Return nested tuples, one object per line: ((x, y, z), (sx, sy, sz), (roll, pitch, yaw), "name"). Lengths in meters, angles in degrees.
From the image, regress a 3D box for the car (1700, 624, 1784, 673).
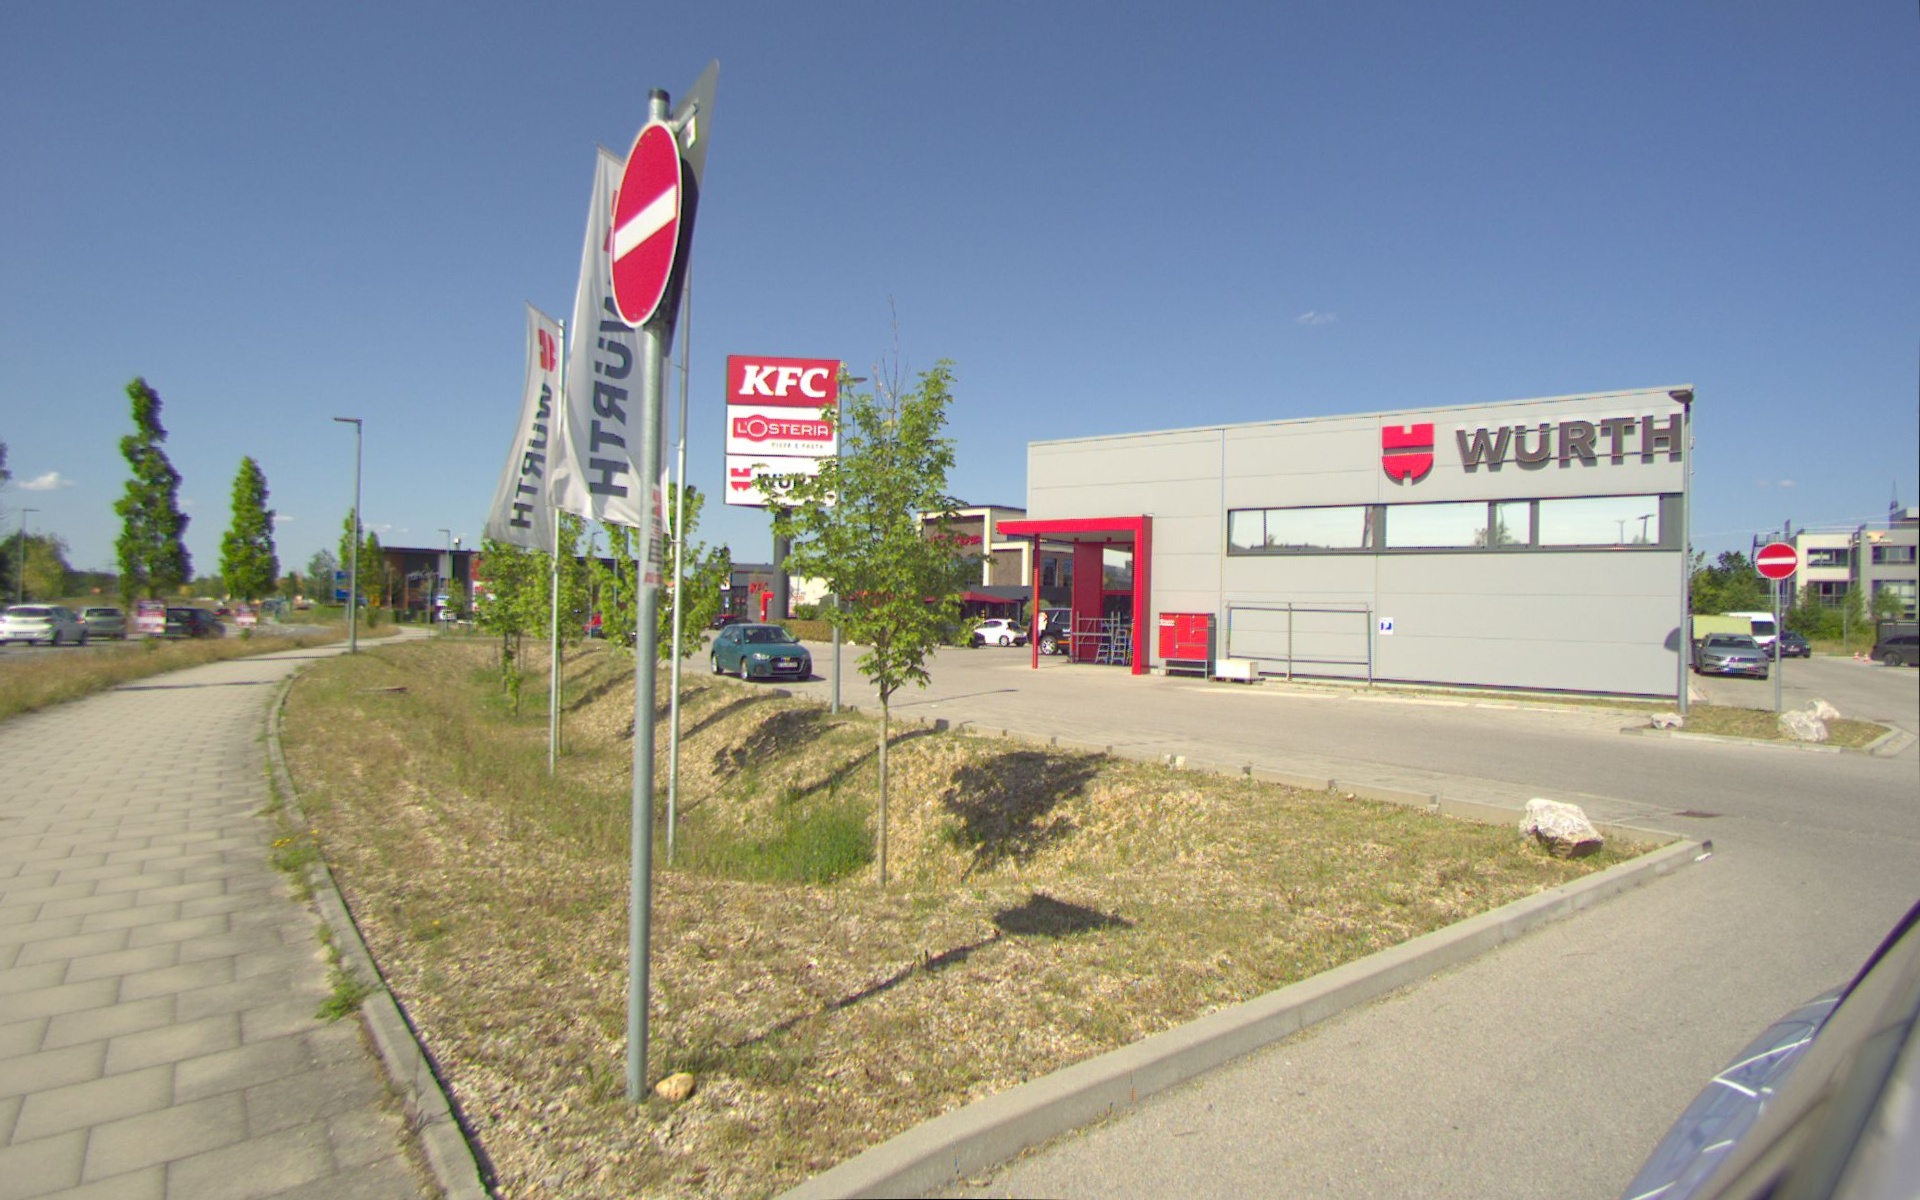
((26.568, 1.602, 34.504), (1.865, 1.527, 3.953), (0, -1, 32), "car")

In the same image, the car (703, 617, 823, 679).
((-5.317, 1.224, 26.892), (1.809, 1.468, 4.230), (1, -1, -31), "car")

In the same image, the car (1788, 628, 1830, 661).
((46.838, 2.438, 55.872), (1.710, 1.638, 3.943), (0, -1, 39), "car")

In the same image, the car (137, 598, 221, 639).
((-31.546, 0.731, 41.007), (1.875, 1.571, 4.394), (0, 0, -27), "car")

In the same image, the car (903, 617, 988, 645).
((-0.772, 1.586, 52.305), (4.125, 1.355, 1.808), (0, -1, 34), "car")

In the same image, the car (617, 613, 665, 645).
((-15.476, 1.382, 48.982), (1.839, 1.484, 4.372), (1, -1, -22), "car")

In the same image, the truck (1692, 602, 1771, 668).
((30.332, 1.332, 39.923), (2.109, 2.407, 5.817), (0, -1, 34), "truck")

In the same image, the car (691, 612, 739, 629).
((-23.588, 1.948, 97.510), (4.029, 1.586, 1.873), (2, -1, -45), "car")

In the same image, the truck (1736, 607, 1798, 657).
((40.952, 1.599, 51.454), (1.986, 2.407, 5.817), (0, -1, 34), "truck")

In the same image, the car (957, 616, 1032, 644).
((1.890, 1.639, 56.303), (3.894, 1.493, 1.778), (0, -1, 39), "car")

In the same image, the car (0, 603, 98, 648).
((-33.566, 0.882, 37.038), (1.906, 1.571, 4.768), (0, 0, -26), "car")

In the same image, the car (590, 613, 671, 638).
((-20.167, 1.578, 61.959), (4.442, 1.477, 2.002), (1, -1, -29), "car")

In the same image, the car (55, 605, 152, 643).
((-37.308, 1.013, 44.231), (1.906, 1.571, 4.769), (0, 0, -23), "car")

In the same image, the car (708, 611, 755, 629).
((-21.586, 1.902, 95.667), (4.029, 1.586, 1.873), (2, -1, -45), "car")

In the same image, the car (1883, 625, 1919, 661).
((42.476, 1.850, 42.936), (1.840, 1.527, 4.534), (1, -1, -19), "car")
